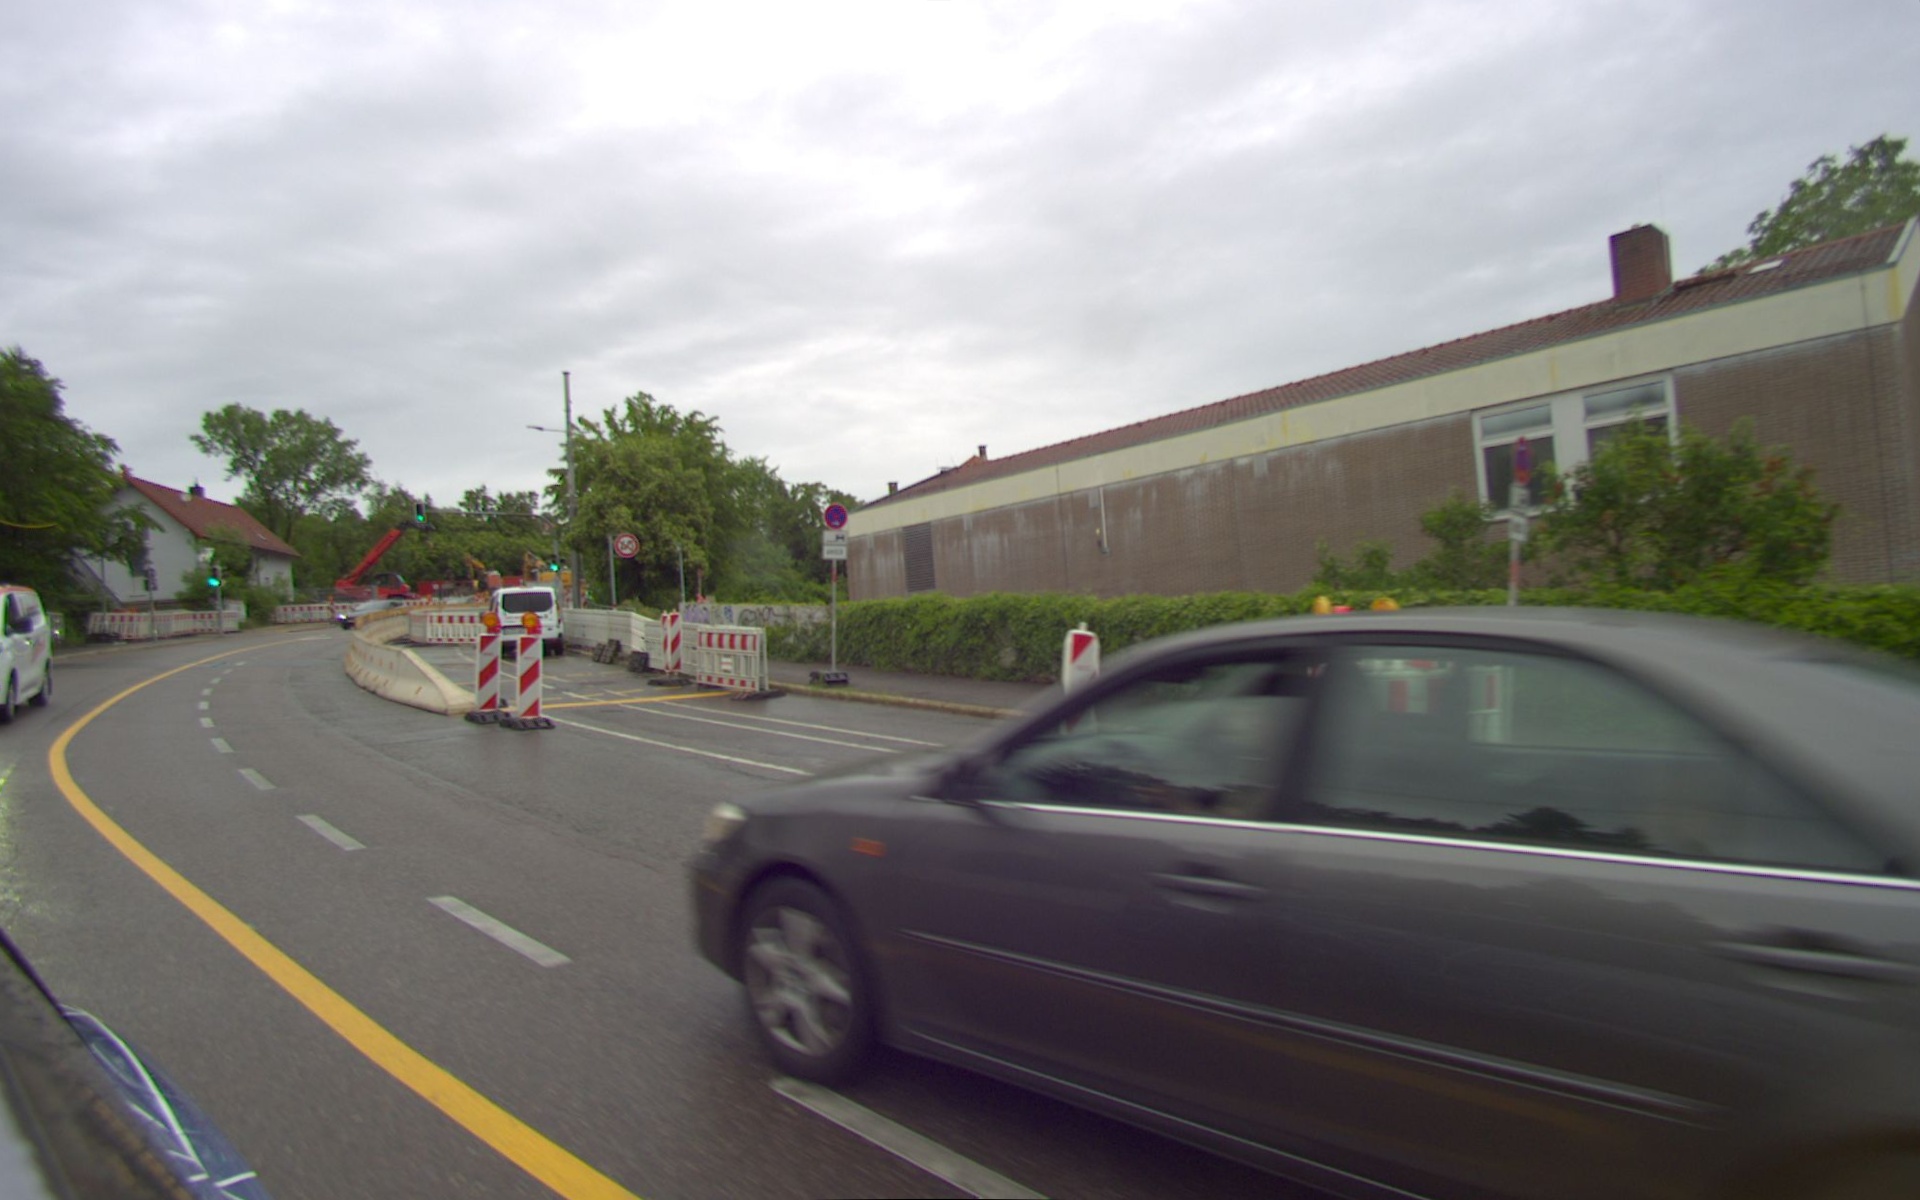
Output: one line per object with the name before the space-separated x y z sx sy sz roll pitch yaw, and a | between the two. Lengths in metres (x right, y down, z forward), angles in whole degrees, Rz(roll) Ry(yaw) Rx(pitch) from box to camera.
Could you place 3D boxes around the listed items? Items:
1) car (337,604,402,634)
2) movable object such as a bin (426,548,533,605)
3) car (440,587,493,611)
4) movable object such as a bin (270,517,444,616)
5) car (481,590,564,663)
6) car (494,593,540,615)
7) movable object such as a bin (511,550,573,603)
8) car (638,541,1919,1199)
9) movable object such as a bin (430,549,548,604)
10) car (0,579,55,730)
car | -31.234 0.977 53.679 1.956 1.447 4.529 -1 1 -17
movable object such as a bin | -43.800 -2.145 92.388 8.204 5.092 3.327 0 0 -3
car | -32.038 -0.067 65.810 1.958 1.470 4.525 -1 1 -10
movable object such as a bin | -42.422 -2.294 71.847 8.905 6.601 7.056 0 0 -13
car | -12.142 0.680 27.908 1.780 1.814 4.477 -1 0 -27
car | -30.608 0.244 70.088 1.958 1.470 4.525 -1 1 -10
movable object such as a bin | -41.554 -2.234 100.358 3.271 5.040 9.874 0 0 -38
car | 1.239 0.679 2.754 4.666 1.502 1.772 -2 -1 39
movable object such as a bin | -47.900 -2.333 103.726 5.188 5.237 13.518 0 0 4
car | -14.603 0.736 14.445 2.009 1.954 4.526 0 -1 -36
